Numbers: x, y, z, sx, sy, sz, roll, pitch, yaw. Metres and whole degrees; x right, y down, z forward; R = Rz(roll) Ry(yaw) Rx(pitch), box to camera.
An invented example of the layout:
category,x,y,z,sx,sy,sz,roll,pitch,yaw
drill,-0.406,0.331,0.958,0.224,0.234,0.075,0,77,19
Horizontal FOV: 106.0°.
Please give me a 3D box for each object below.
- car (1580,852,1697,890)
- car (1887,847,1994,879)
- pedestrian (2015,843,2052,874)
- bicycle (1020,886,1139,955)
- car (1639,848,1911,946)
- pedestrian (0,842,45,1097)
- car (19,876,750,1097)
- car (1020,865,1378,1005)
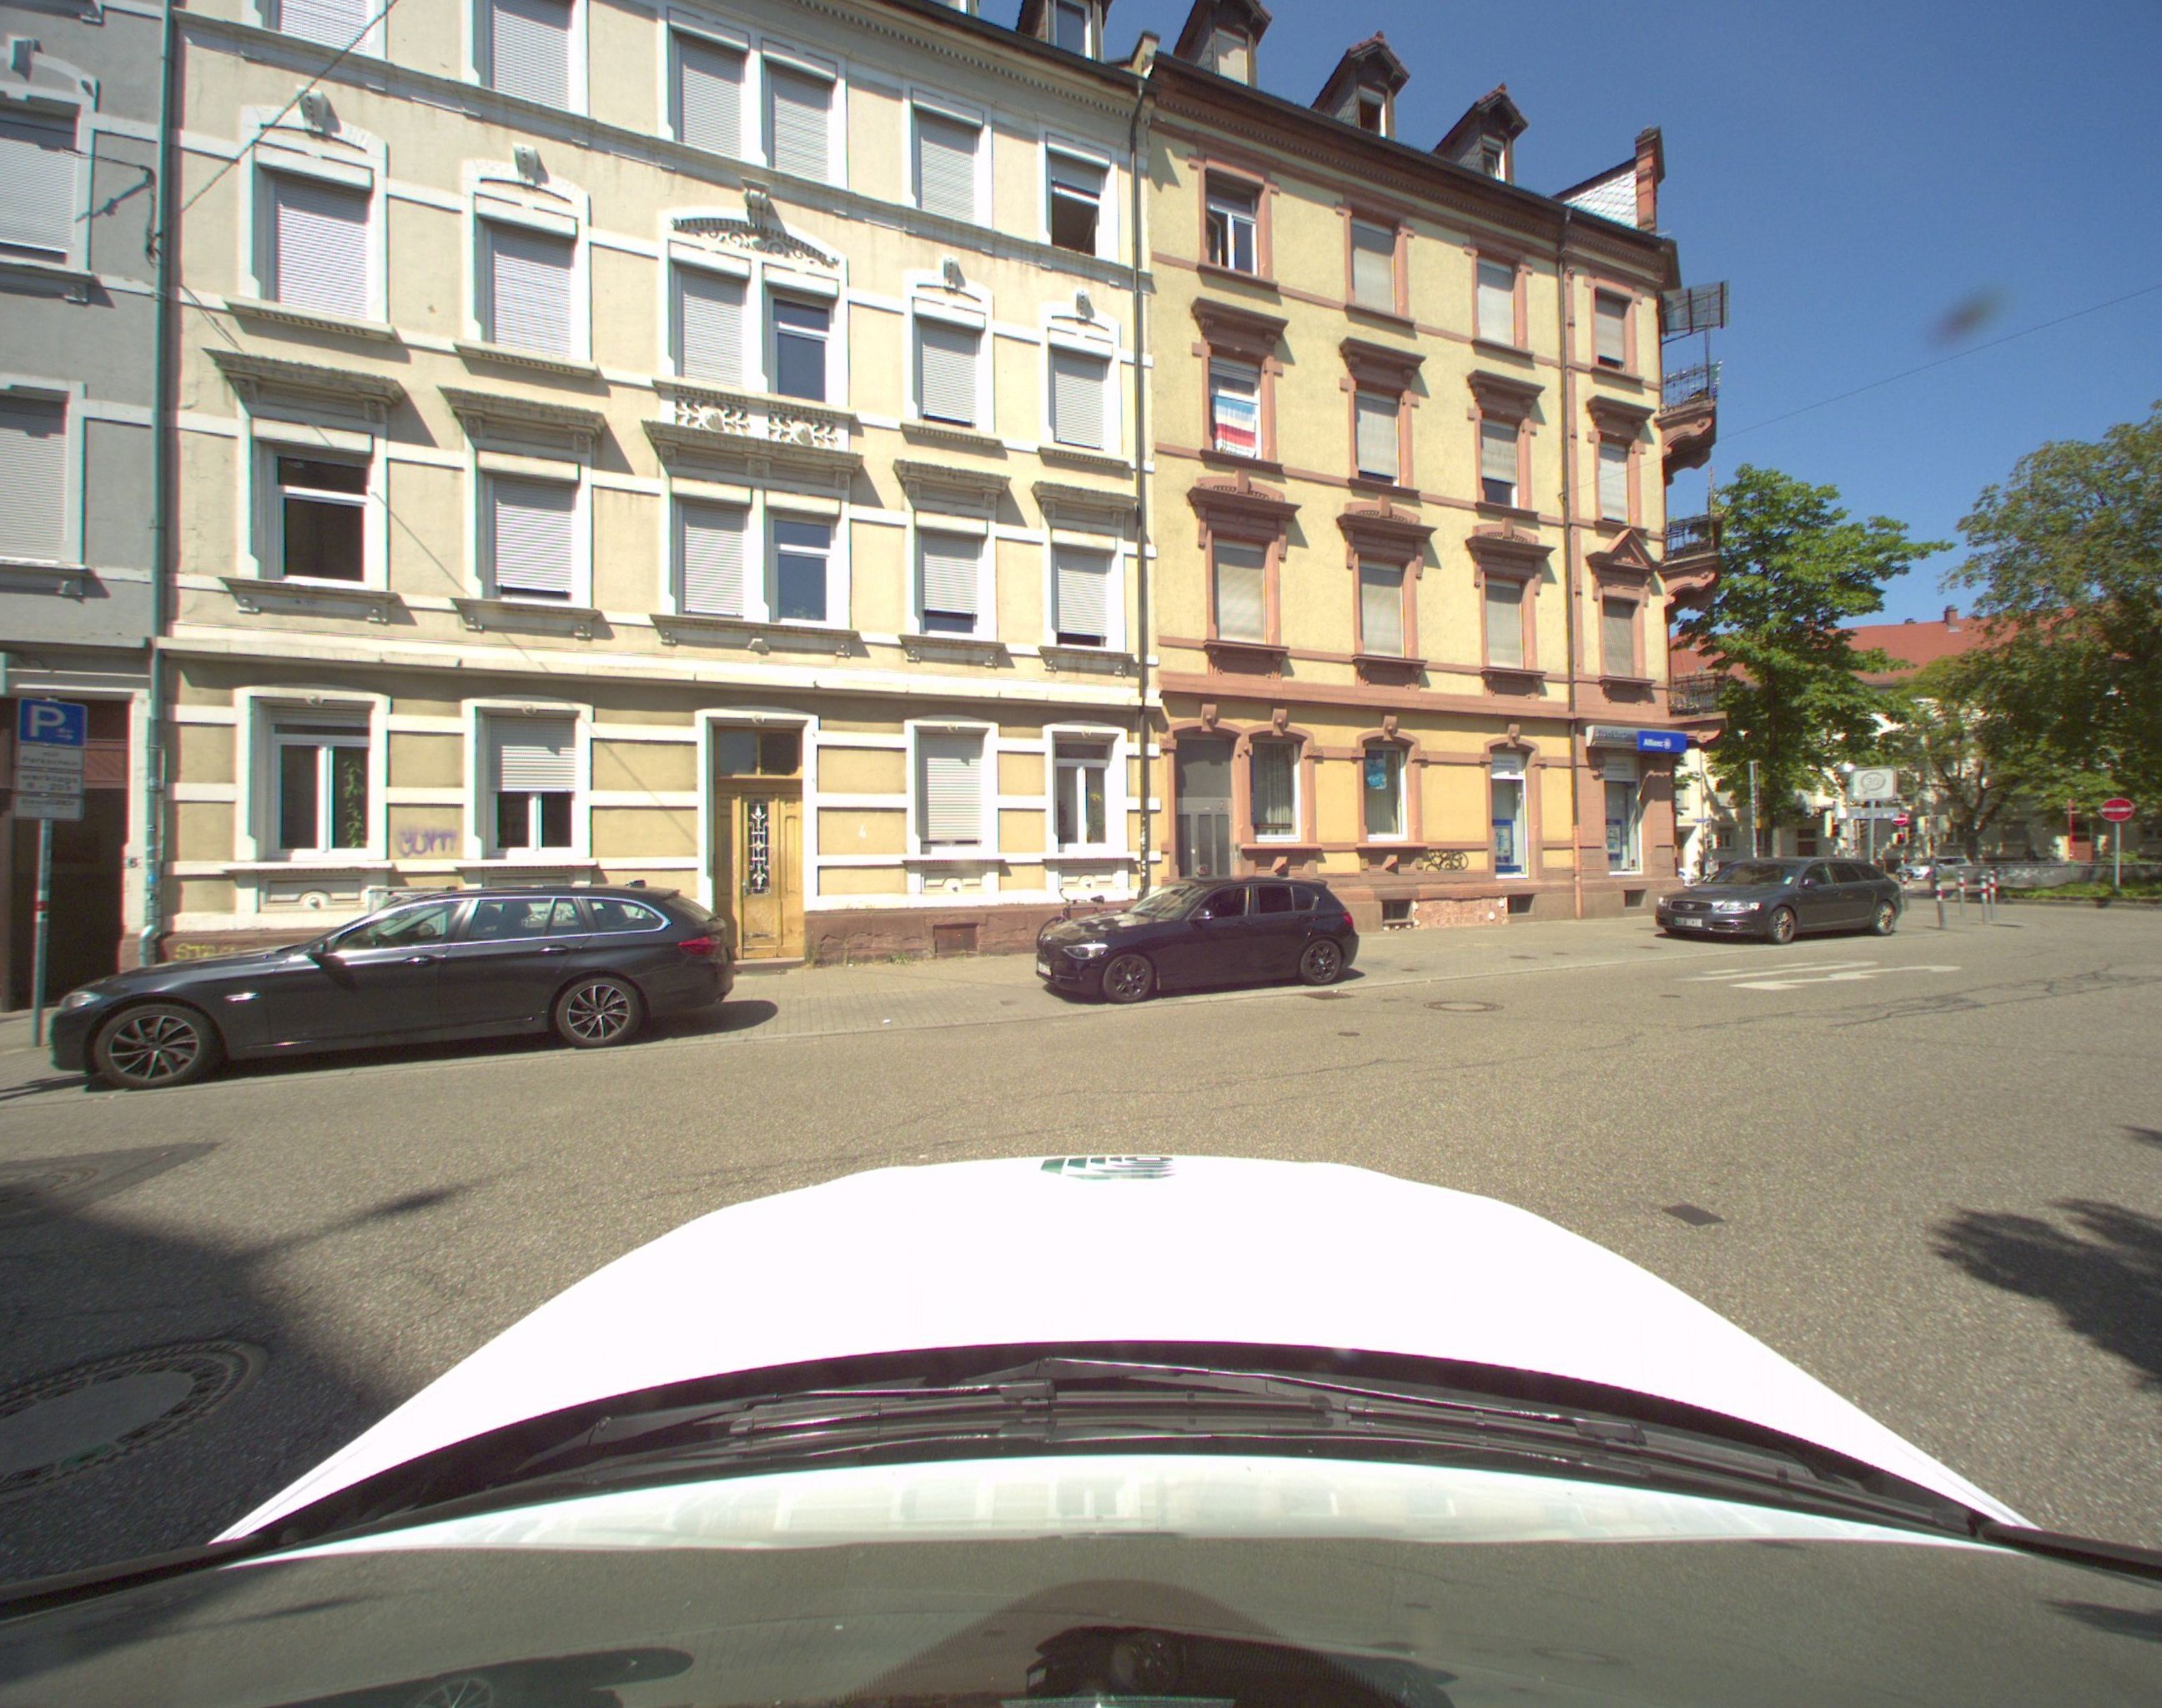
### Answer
category,x,y,z,sx,sy,sz,roll,pitch,yaw
car,25.406,0.753,37.199,4.291,1.552,1.884,-2,-1,-10
car,49.075,0.526,46.555,3.972,1.622,1.985,-2,-1,1
pedestrian,54.642,0.274,46.710,0.968,1.728,0.910,-2,-1,3
bicycle,-0.010,1.107,13.846,2.013,1.021,0.421,-2,2,-22
car,12.584,0.696,14.789,4.437,1.455,1.795,-2,0,-20
pedestrian,-8.272,0.854,6.031,0.717,1.853,0.689,-3,-1,41
car,-5.874,1.026,7.793,4.876,1.437,1.986,-2,-1,-20
car,1.525,0.924,10.660,4.308,1.370,1.795,-2,2,-20
